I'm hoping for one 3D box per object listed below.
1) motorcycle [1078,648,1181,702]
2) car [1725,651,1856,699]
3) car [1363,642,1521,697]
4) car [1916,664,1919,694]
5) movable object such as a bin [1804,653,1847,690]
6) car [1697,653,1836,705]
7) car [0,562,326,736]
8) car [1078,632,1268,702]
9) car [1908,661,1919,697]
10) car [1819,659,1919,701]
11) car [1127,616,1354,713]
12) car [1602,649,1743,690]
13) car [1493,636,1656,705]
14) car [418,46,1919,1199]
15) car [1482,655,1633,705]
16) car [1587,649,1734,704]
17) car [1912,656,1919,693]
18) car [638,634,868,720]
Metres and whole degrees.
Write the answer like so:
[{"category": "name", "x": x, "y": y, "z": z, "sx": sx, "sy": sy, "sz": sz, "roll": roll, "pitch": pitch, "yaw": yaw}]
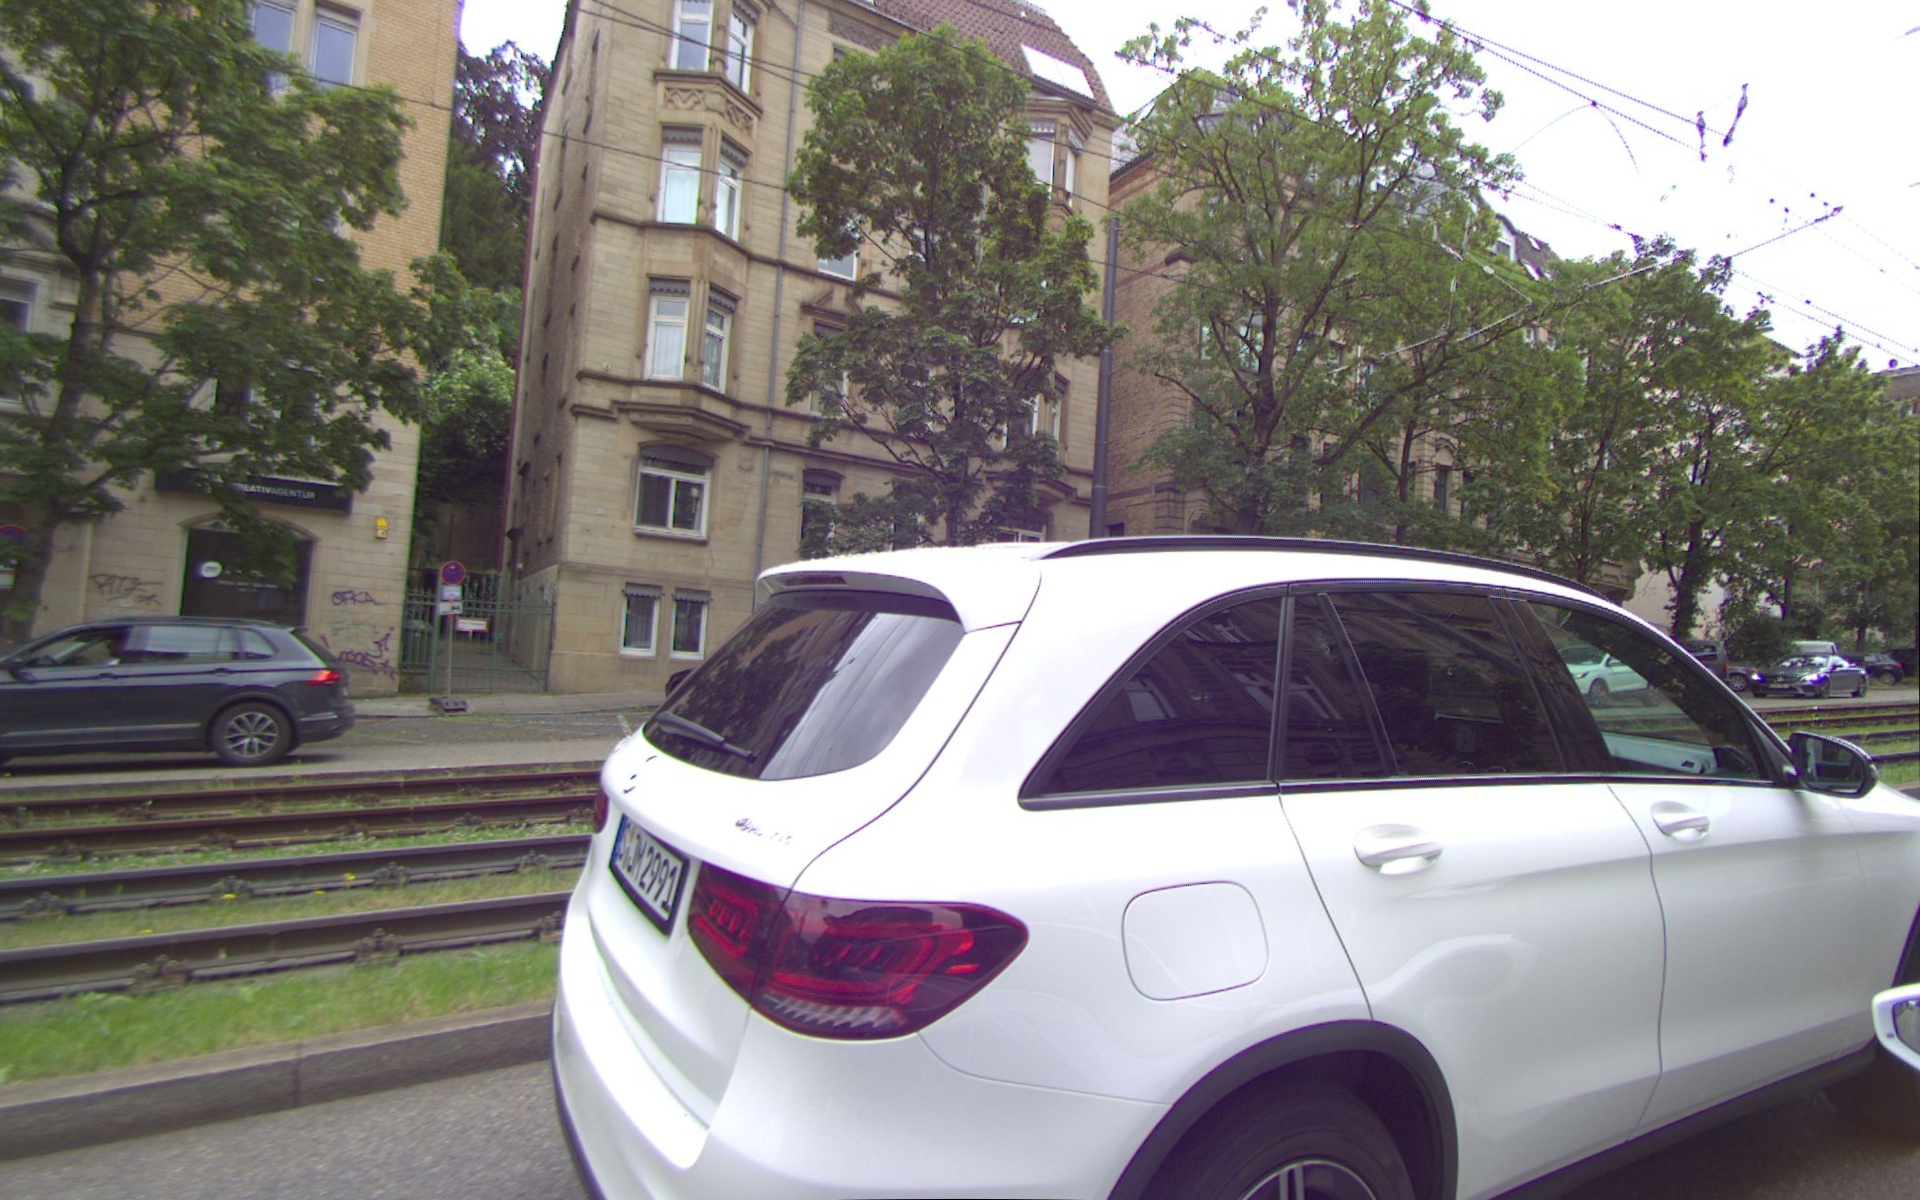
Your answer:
[{"category": "motorcycle", "x": 3.803, "y": 1.674, "z": 22.584, "sx": 2.164, "sy": 1.072, "sz": 0.625, "roll": 2, "pitch": -2, "yaw": 26}, {"category": "car", "x": 26.392, "y": 2.396, "z": 31.893, "sx": 4.544, "sy": 1.428, "sz": 1.717, "roll": 3, "pitch": -5, "yaw": -30}, {"category": "car", "x": 14.351, "y": 2.039, "z": 29.993, "sx": 4.115, "sy": 1.454, "sz": 1.869, "roll": 0, "pitch": -3, "yaw": 28}, {"category": "car", "x": 55.232, "y": 4.432, "z": 54.422, "sx": 4.521, "sy": 1.638, "sz": 1.934, "roll": 2, "pitch": -1, "yaw": 27}, {"category": "movable object such as a bin", "x": 34.951, "y": 2.888, "z": 40.554, "sx": 1.261, "sy": 1.419, "sz": 1.090, "roll": 1, "pitch": -3, "yaw": 44}, {"category": "car", "x": 31.944, "y": 3.098, "z": 39.957, "sx": 4.120, "sy": 1.860, "sz": 1.867, "roll": 0, "pitch": -3, "yaw": 34}, {"category": "car", "x": -9.410, "y": 0.537, "z": 10.629, "sx": 4.418, "sy": 1.671, "sz": 1.872, "roll": 3, "pitch": -5, "yaw": -30}, {"category": "car", "x": 5.040, "y": 1.573, "z": 23.845, "sx": 4.079, "sy": 1.488, "sz": 1.784, "roll": 0, "pitch": -4, "yaw": 28}, {"category": "car", "x": 51.470, "y": 4.131, "z": 50.974, "sx": 4.514, "sy": 1.821, "sz": 1.937, "roll": 2, "pitch": -1, "yaw": 14}, {"category": "car", "x": 42.922, "y": 3.696, "z": 46.441, "sx": 4.522, "sy": 1.704, "sz": 1.934, "roll": 2, "pitch": -1, "yaw": 27}, {"category": "car", "x": 5.367, "y": 1.261, "z": 19.117, "sx": 4.194, "sy": 1.678, "sz": 1.772, "roll": 3, "pitch": -5, "yaw": -30}, {"category": "car", "x": 26.411, "y": 2.564, "z": 37.438, "sx": 4.117, "sy": 1.357, "sz": 1.868, "roll": 0, "pitch": -3, "yaw": 31}, {"category": "car", "x": 15.873, "y": 1.837, "z": 25.909, "sx": 4.295, "sy": 1.637, "sz": 1.772, "roll": 3, "pitch": -5, "yaw": -30}, {"category": "car", "x": 1.169, "y": 0.492, "z": 2.835, "sx": 4.618, "sy": 1.689, "sz": 1.826, "roll": 3, "pitch": -2, "yaw": -31}, {"category": "car", "x": 19.361, "y": 2.570, "z": 32.722, "sx": 4.117, "sy": 1.454, "sz": 1.868, "roll": 0, "pitch": -3, "yaw": 31}, {"category": "car", "x": 24.714, "y": 2.676, "z": 35.629, "sx": 4.117, "sy": 1.790, "sz": 1.868, "roll": 0, "pitch": -3, "yaw": 31}, {"category": "car", "x": 40.328, "y": 3.027, "z": 40.367, "sx": 4.443, "sy": 1.454, "sz": 1.857, "roll": 3, "pitch": -6, "yaw": -31}, {"category": "car", "x": -3.916, "y": 1.381, "z": 18.844, "sx": 4.110, "sy": 1.382, "sz": 1.709, "roll": 0, "pitch": -3, "yaw": 31}]
